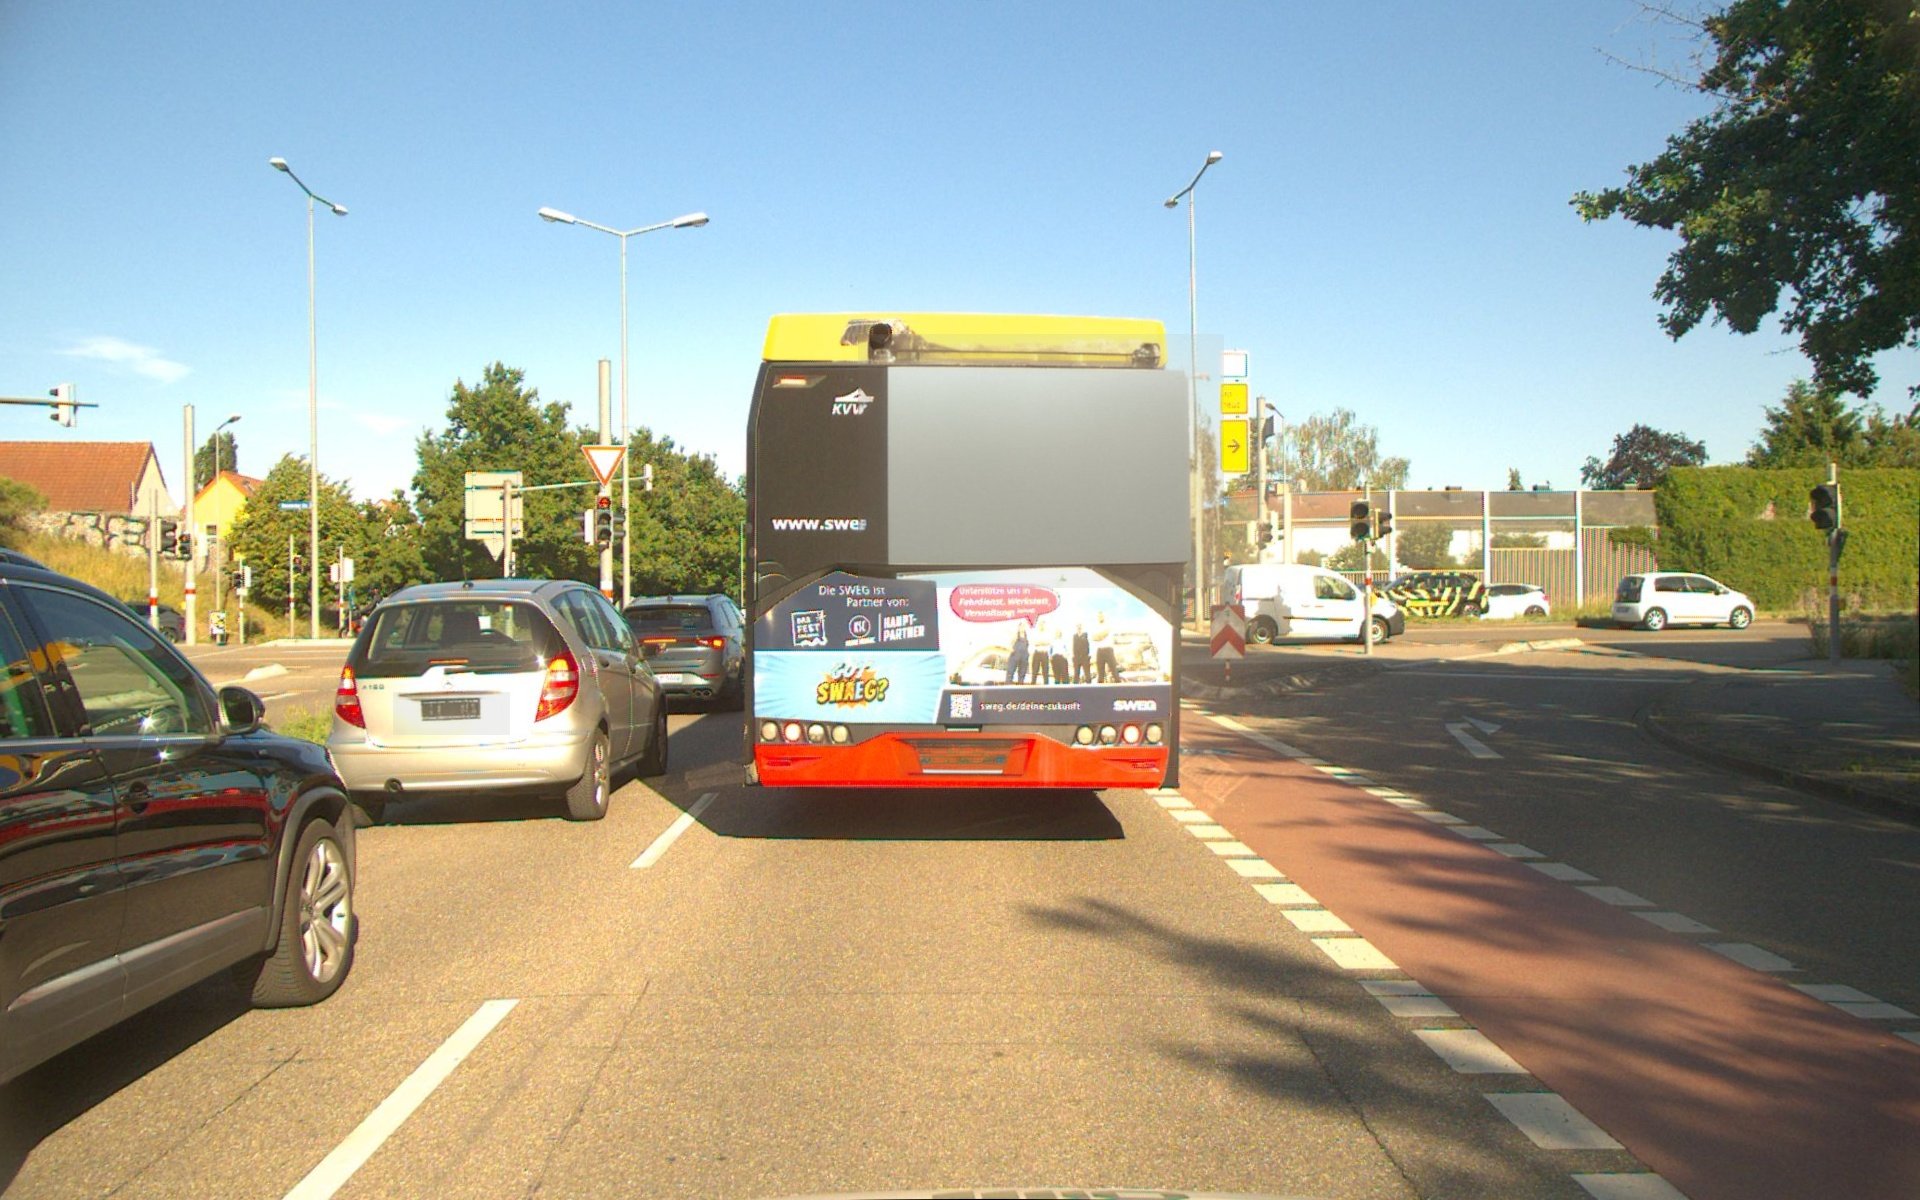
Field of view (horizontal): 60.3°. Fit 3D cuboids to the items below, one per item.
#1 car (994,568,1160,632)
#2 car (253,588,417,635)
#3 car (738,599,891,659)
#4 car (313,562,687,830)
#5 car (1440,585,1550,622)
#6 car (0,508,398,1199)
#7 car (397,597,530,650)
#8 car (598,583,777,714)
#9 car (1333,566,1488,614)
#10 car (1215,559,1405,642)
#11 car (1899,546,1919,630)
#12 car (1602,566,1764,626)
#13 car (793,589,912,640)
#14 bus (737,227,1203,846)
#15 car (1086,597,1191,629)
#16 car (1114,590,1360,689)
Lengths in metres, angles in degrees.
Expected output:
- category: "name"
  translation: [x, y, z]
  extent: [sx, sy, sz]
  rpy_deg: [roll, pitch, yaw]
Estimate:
- category: "car"
  translation: [3.044, 0.006, 43.472]
  extent: [4.139, 1.590, 1.761]
  rpy_deg: [1, -1, -6]
- category: "car"
  translation: [-18.262, 0.318, 48.445]
  extent: [4.204, 1.325, 1.573]
  rpy_deg: [0, 0, -4]
- category: "car"
  translation: [-4.401, 0.868, 49.596]
  extent: [4.443, 1.745, 1.996]
  rpy_deg: [1, -1, -9]
- category: "car"
  translation: [-3.200, 0.554, 12.349]
  extent: [1.718, 1.648, 4.033]
  rpy_deg: [0, 1, -1]
- category: "car"
  translation: [19.139, 0.131, 59.281]
  extent: [3.511, 1.287, 1.353]
  rpy_deg: [0, 0, -3]
- category: "car"
  translation: [-3.140, 0.673, 4.652]
  extent: [1.784, 1.703, 4.001]
  rpy_deg: [-2, -1, -1]
- category: "car"
  translation: [-16.233, 0.752, 54.198]
  extent: [3.910, 1.640, 1.693]
  rpy_deg: [0, 0, -7]
- category: "car"
  translation: [-3.389, 0.583, 21.165]
  extent: [1.555, 1.511, 3.683]
  rpy_deg: [-1, 0, 2]
- category: "car"
  translation: [13.081, -0.270, 48.133]
  extent: [4.078, 1.325, 1.573]
  rpy_deg: [1, -1, -4]
- category: "car"
  translation: [8.036, 0.012, 38.125]
  extent: [4.031, 1.832, 1.456]
  rpy_deg: [-1, -1, -5]
- category: "car"
  translation: [16.640, -0.163, 26.211]
  extent: [3.355, 1.318, 1.448]
  rpy_deg: [1, -1, -26]
- category: "car"
  translation: [18.972, -0.100, 43.482]
  extent: [3.600, 1.512, 1.591]
  rpy_deg: [-1, -1, -7]
- category: "car"
  translation: [-3.648, 0.479, 55.628]
  extent: [3.910, 1.640, 1.693]
  rpy_deg: [0, 0, -7]
- category: "bus"
  translation: [-0.030, -0.380, 15.137]
  extent: [2.543, 3.393, 11.981]
  rpy_deg: [1, 0, -1]
- category: "car"
  translation: [6.821, 0.484, 63.160]
  extent: [3.680, 1.156, 1.574]
  rpy_deg: [0, 0, 23]
- category: "car"
  translation: [4.042, 0.554, 24.399]
  extent: [3.447, 1.325, 1.576]
  rpy_deg: [1, 1, 8]
